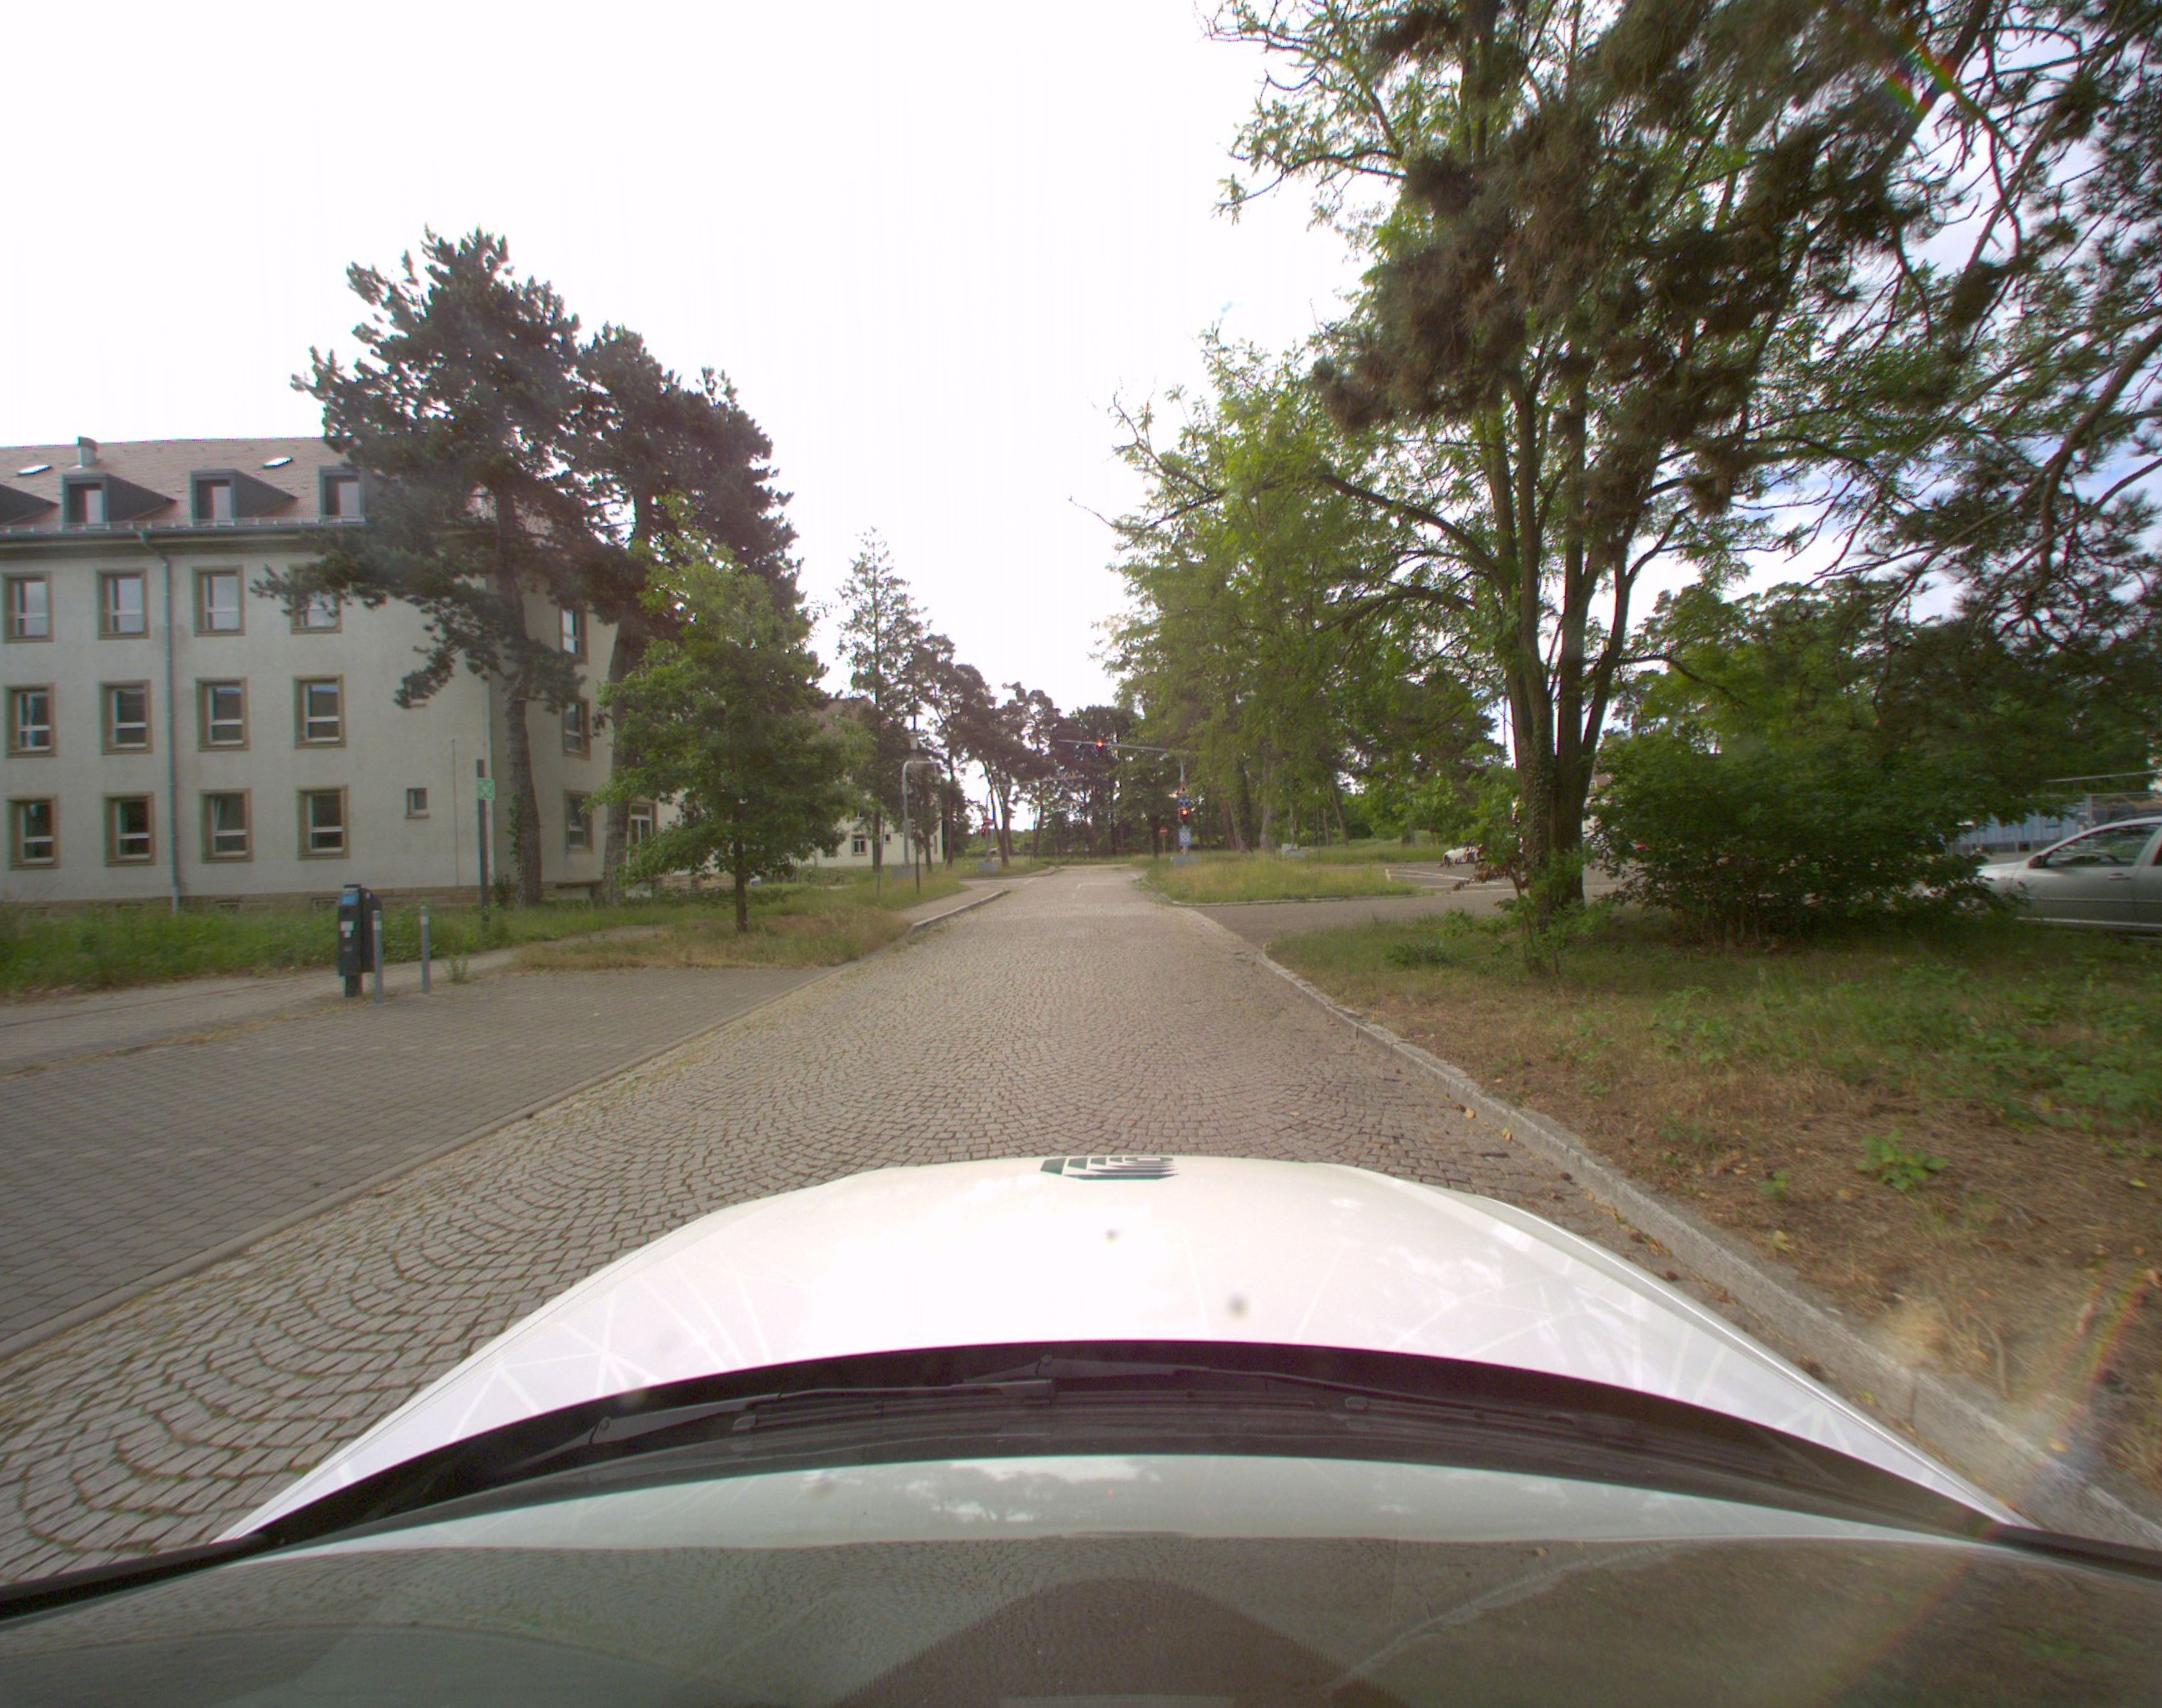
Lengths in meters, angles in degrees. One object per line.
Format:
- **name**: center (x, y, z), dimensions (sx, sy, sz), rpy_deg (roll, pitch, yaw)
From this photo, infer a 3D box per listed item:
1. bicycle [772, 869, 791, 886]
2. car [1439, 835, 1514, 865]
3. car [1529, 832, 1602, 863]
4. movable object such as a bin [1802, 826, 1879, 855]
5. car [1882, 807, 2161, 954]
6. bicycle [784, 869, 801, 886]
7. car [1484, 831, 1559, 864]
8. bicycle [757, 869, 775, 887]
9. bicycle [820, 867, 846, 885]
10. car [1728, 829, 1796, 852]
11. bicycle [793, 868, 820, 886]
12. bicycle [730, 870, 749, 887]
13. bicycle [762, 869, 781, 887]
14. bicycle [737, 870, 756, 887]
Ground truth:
- **bicycle**: center (-19.669, 1.554, 53.531), dimensions (0.512, 1.079, 1.587), rpy_deg (-2, 0, 4)
- **car**: center (22.203, -0.179, 45.958), dimensions (1.843, 1.487, 4.605), rpy_deg (-1, -3, -2)
- **car**: center (27.469, -0.331, 46.347), dimensions (1.694, 1.485, 4.245), rpy_deg (-2, -2, 2)
- **movable object such as a bin**: center (31.120, -0.543, 33.435), dimensions (0.959, 1.134, 2.207), rpy_deg (0, 0, -8)
- **car**: center (11.471, 0.239, 8.525), dimensions (1.669, 1.450, 4.487), rpy_deg (-2, 0, -1)
- **bicycle**: center (-18.991, 1.549, 53.618), dimensions (0.513, 1.079, 1.584), rpy_deg (-2, 0, -2)
- **car**: center (24.839, -0.328, 46.060), dimensions (1.777, 1.605, 4.239), rpy_deg (-2, -2, -2)
- **bicycle**: center (-20.733, 1.563, 53.630), dimensions (0.512, 1.079, 1.586), rpy_deg (-2, 0, 1)
- **bicycle**: center (-15.961, 1.415, 52.396), dimensions (1.460, 1.065, 0.516), rpy_deg (-2, 0, -1)
- **car**: center (47.869, -0.960, 57.345), dimensions (1.608, 1.501, 4.252), rpy_deg (-2, 0, 7)
- **bicycle**: center (-17.597, 1.502, 52.232), dimensions (1.460, 1.079, 0.516), rpy_deg (-2, 0, -1)
- **bicycle**: center (-22.437, 1.612, 53.558), dimensions (0.512, 1.079, 1.586), rpy_deg (-2, 0, 1)
- **bicycle**: center (-20.372, 1.560, 53.625), dimensions (0.512, 1.079, 1.586), rpy_deg (-2, 0, 1)
- **bicycle**: center (-21.985, 1.606, 53.565), dimensions (0.512, 1.079, 1.586), rpy_deg (-2, 0, 1)
